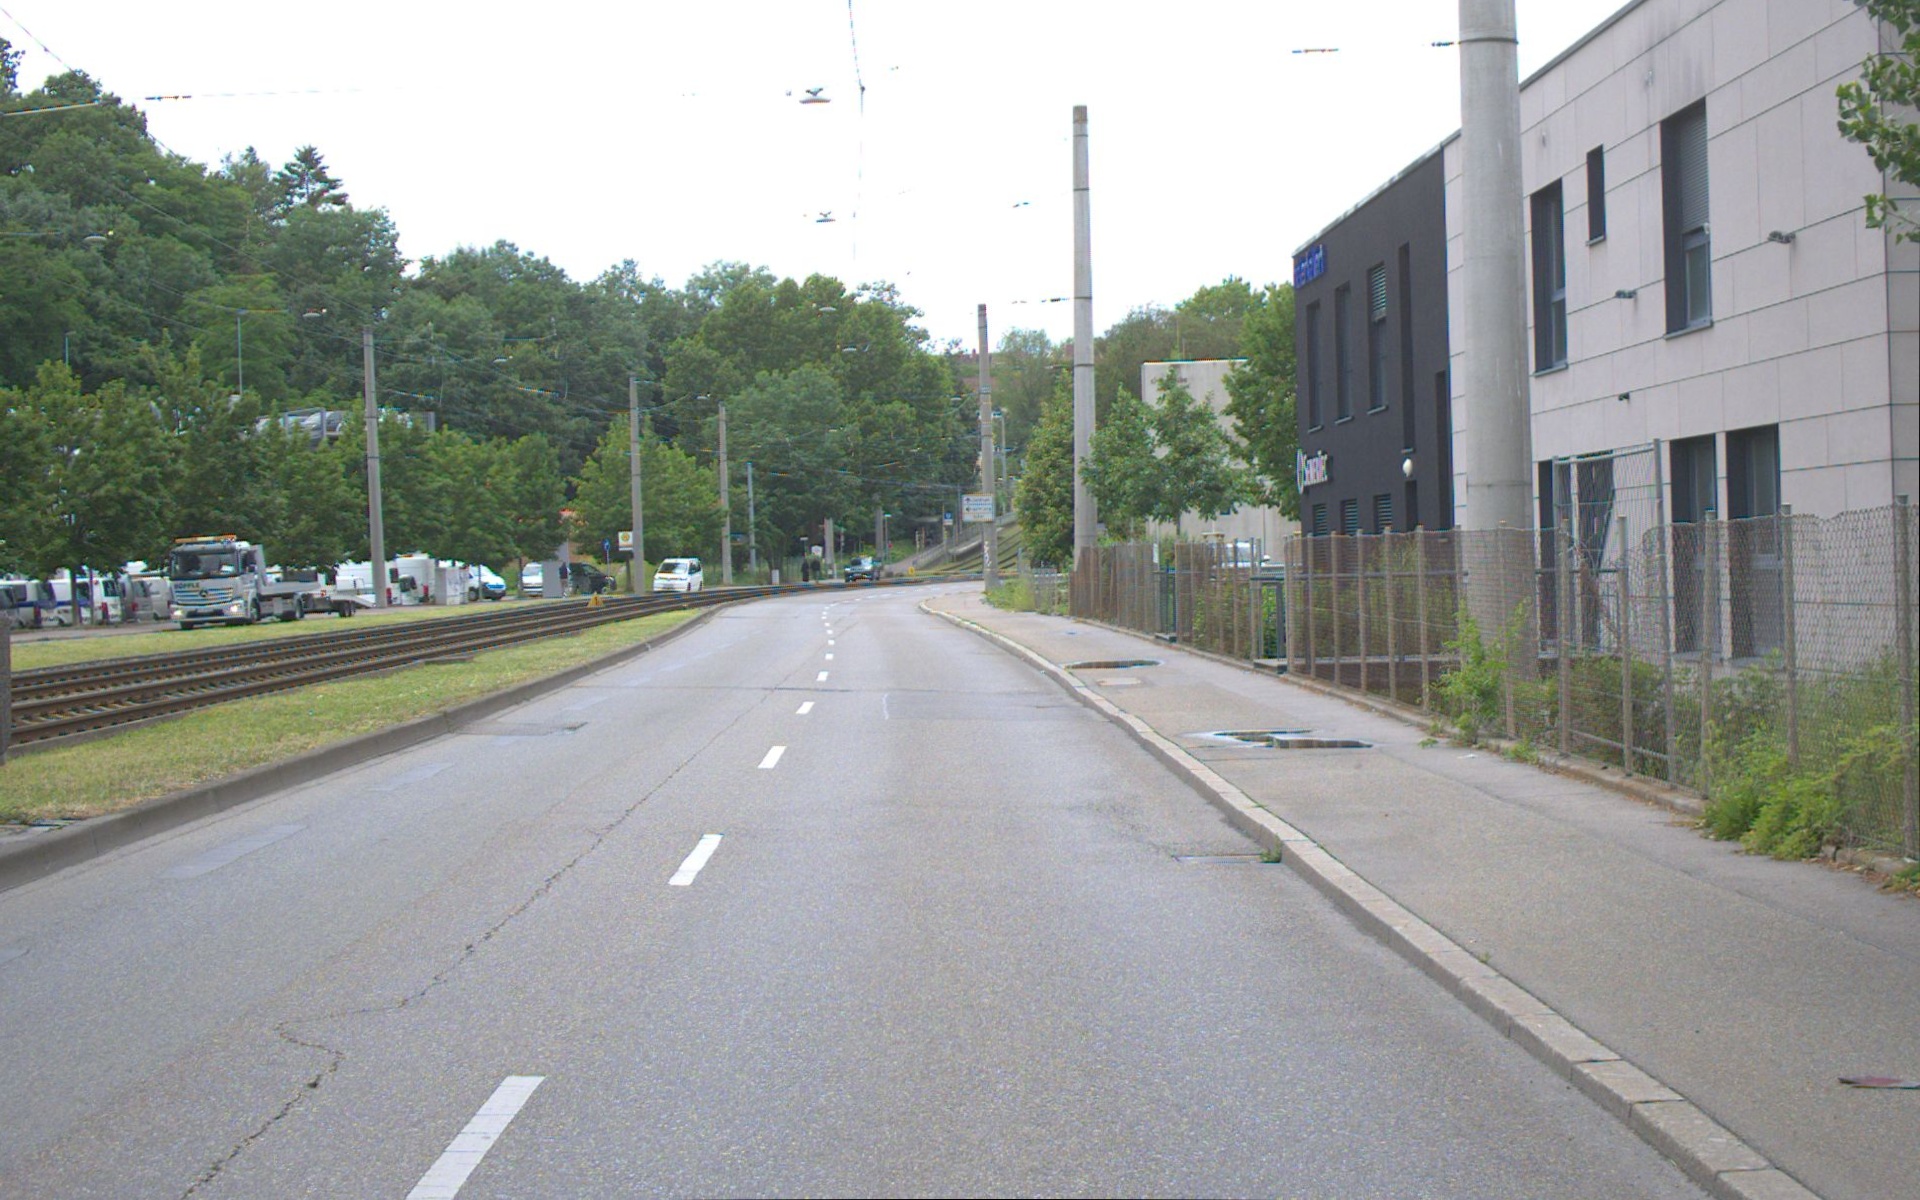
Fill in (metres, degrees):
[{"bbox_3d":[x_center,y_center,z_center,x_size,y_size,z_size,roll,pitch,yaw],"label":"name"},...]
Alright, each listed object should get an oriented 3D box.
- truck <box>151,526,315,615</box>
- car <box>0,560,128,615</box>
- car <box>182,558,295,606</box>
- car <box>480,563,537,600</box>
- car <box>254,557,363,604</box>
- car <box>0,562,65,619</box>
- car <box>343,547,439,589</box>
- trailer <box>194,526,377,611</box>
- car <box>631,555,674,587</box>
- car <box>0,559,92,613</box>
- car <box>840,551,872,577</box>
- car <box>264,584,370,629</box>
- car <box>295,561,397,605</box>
[{"bbox_3d":[-22.313,-0.934,105.833,2.884,2.580,6.910,-1,1,6],"label":"truck"},{"bbox_3d":[-30.244,-0.427,115.505,3.987,1.700,1.834,-2,1,5],"label":"car"},{"bbox_3d":[-28.480,-0.713,135.812,3.987,1.700,1.833,-2,-3,5],"label":"car"},{"bbox_3d":[-23.858,-0.985,181.902,1.828,1.700,4.141,-2,-3,9],"label":"car"},{"bbox_3d":[-26.438,-0.775,139.509,3.987,1.700,1.833,-2,-3,5],"label":"car"},{"bbox_3d":[-30.989,-0.271,110.196,3.987,1.700,1.834,-2,2,5],"label":"car"},{"bbox_3d":[-26.103,-1.463,157.701,3.987,1.700,1.833,-2,-3,5],"label":"car"},{"bbox_3d":[-21.719,-1.054,111.382,2.893,2.574,9.992,-1,1,6],"label":"trailer"},{"bbox_3d":[-16.612,-1.562,185.579,1.993,1.634,4.000,-1,1,-1],"label":"car"},{"bbox_3d":[-30.750,-0.443,112.815,3.987,1.700,1.833,-2,1,5],"label":"car"},{"bbox_3d":[-6.772,-2.369,223.328,1.993,1.634,4.000,-1,1,-1],"label":"car"},{"bbox_3d":[-27.091,0.256,144.919,3.987,1.700,1.834,-2,2,5],"label":"car"},{"bbox_3d":[-26.787,-0.723,150.015,3.987,1.700,1.833,-2,-3,5],"label":"car"}]
